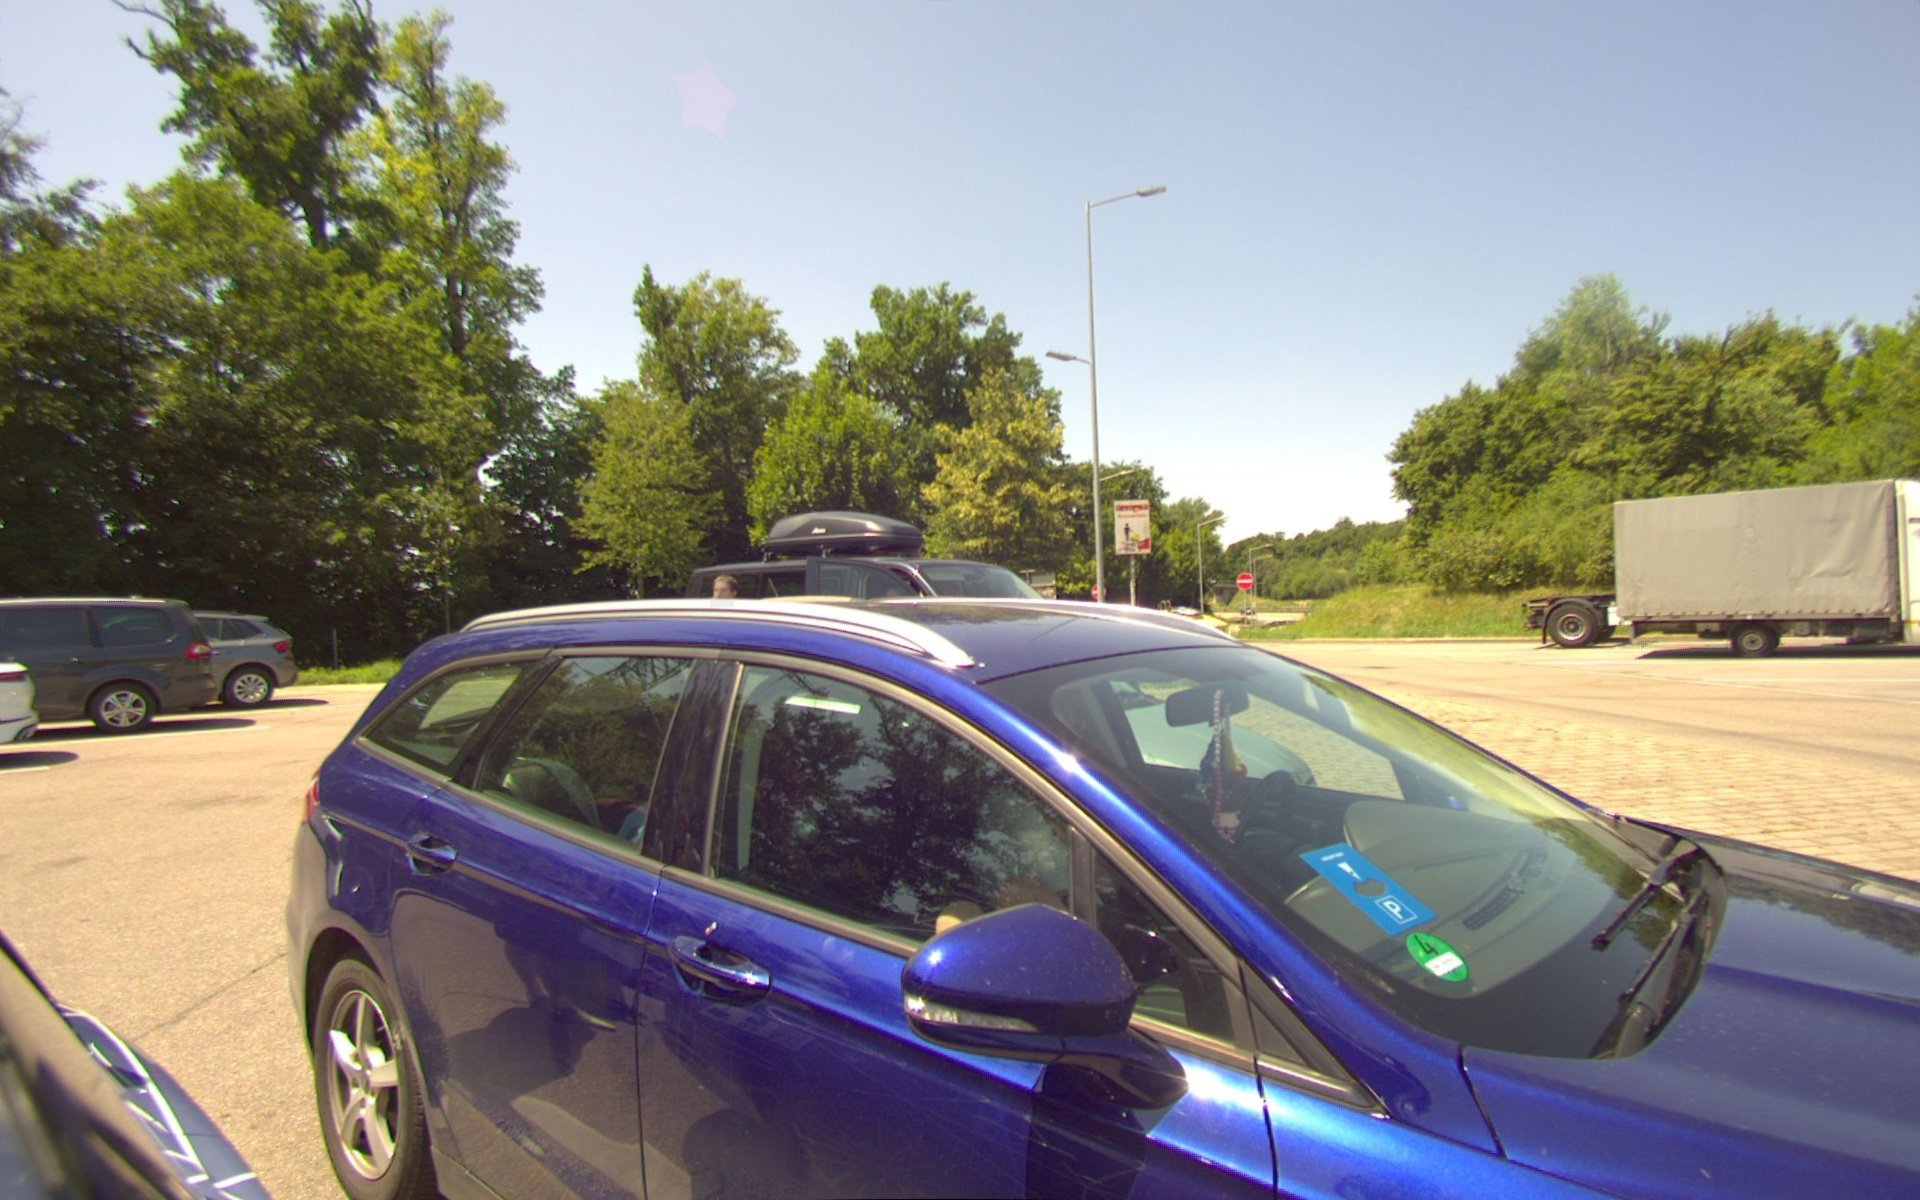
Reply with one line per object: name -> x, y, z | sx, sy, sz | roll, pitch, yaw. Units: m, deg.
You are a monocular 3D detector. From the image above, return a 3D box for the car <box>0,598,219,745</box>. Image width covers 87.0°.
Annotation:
car -> -11.635, 0.861, 12.660 | 3.767, 1.708, 1.654 | -1, 0, -38

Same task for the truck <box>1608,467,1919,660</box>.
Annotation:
truck -> 16.778, -0.655, 19.011 | 7.274, 3.269, 2.678 | -4, -1, 42

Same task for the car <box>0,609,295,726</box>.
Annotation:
car -> -12.626, 0.965, 15.667 | 3.767, 1.572, 1.654 | -1, 0, -38

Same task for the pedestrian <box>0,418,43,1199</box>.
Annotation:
pedestrian -> -2.733, 0.516, 2.245 | 0.905, 1.919, 0.816 | -1, 0, -33

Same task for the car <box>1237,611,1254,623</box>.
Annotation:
car -> 50.764, 2.952, 179.762 | 1.973, 2.029, 3.998 | -1, 0, 2

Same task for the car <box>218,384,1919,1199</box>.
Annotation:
car -> 0.228, 0.630, 2.075 | 4.569, 1.482, 1.735 | -3, 0, 40

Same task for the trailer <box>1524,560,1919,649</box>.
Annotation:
trailer -> 17.703, 0.150, 23.108 | 8.098, 1.638, 2.187 | -4, -1, 41

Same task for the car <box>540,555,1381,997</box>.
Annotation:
car -> -0.326, 0.664, 5.612 | 4.569, 1.517, 1.735 | -3, 0, 40

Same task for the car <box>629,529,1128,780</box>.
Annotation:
car -> -0.896, 0.493, 9.661 | 4.558, 1.912, 1.740 | -3, 0, 32

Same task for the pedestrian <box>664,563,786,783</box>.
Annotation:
pedestrian -> -1.971, 0.590, 8.567 | 0.747, 1.767, 0.783 | -1, 0, 10
